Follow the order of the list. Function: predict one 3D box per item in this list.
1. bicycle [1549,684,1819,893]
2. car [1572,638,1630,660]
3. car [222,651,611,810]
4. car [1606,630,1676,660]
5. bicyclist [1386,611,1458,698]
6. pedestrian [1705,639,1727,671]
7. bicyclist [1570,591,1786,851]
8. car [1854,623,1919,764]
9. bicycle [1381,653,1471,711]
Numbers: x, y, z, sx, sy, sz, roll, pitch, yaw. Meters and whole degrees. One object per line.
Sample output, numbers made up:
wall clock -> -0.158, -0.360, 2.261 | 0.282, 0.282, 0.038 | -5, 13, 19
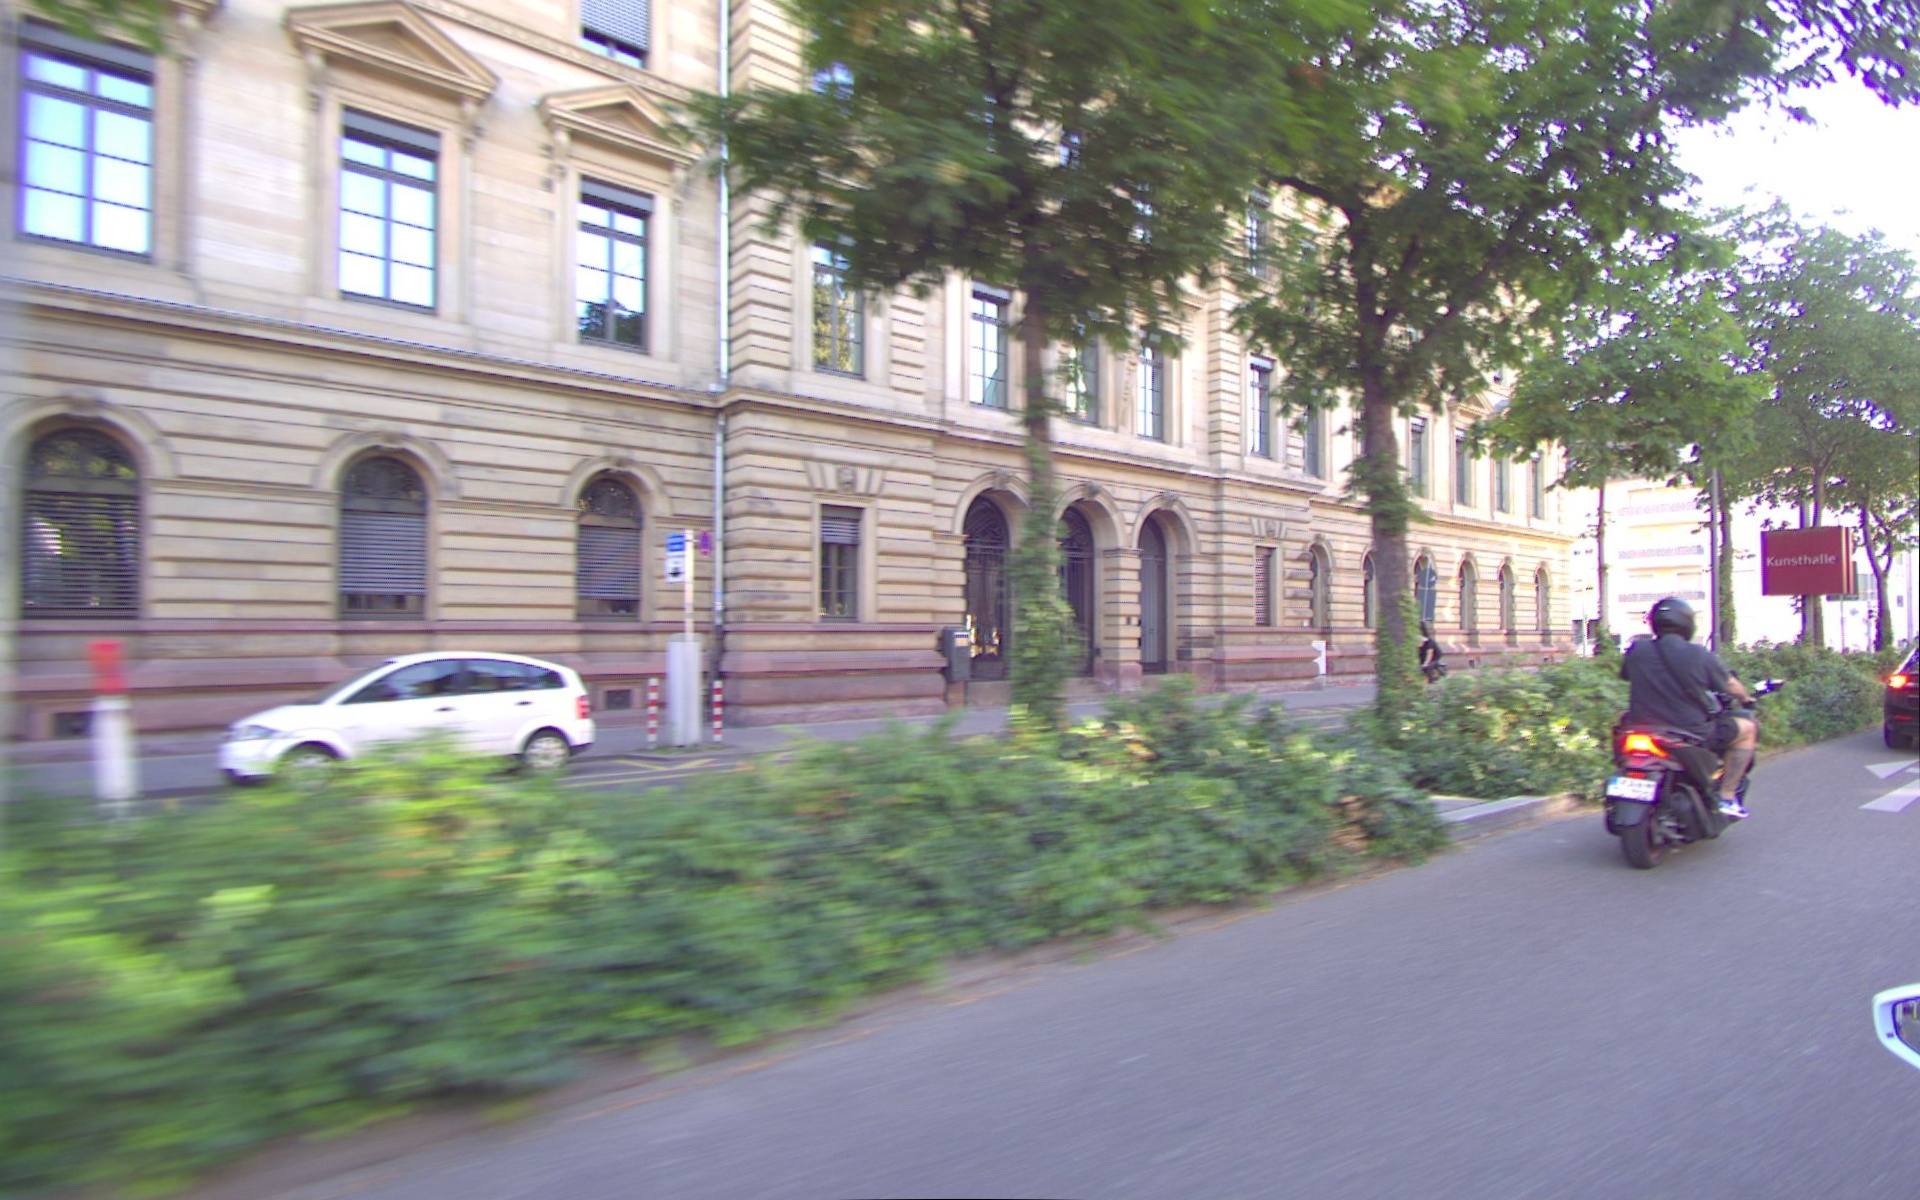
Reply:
bicycle -> 4.969, 1.165, 6.818 | 2.432, 1.056, 0.863 | 1, -1, -38
car -> 39.953, 3.042, 62.590 | 3.959, 1.327, 1.596 | 1, -3, -35
car -> -6.302, 1.388, 11.853 | 3.813, 1.527, 1.655 | 1, -3, -39
car -> 41.195, 2.693, 60.721 | 4.569, 1.708, 1.981 | 1, -3, -35
bicyclist -> 10.230, 1.208, 22.229 | 1.274, 1.858, 0.874 | 2, -6, -38
pedestrian -> 38.198, 2.773, 50.770 | 0.809, 1.605, 0.628 | 1, 1, -33
bicyclist -> 4.786, 0.730, 6.685 | 1.220, 1.543, 0.861 | 1, -1, -38
car -> 13.525, 1.157, 13.236 | 4.699, 1.679, 1.977 | 2, -3, -41
bicycle -> 10.318, 1.802, 22.217 | 2.156, 1.209, 0.874 | 2, -6, -38
